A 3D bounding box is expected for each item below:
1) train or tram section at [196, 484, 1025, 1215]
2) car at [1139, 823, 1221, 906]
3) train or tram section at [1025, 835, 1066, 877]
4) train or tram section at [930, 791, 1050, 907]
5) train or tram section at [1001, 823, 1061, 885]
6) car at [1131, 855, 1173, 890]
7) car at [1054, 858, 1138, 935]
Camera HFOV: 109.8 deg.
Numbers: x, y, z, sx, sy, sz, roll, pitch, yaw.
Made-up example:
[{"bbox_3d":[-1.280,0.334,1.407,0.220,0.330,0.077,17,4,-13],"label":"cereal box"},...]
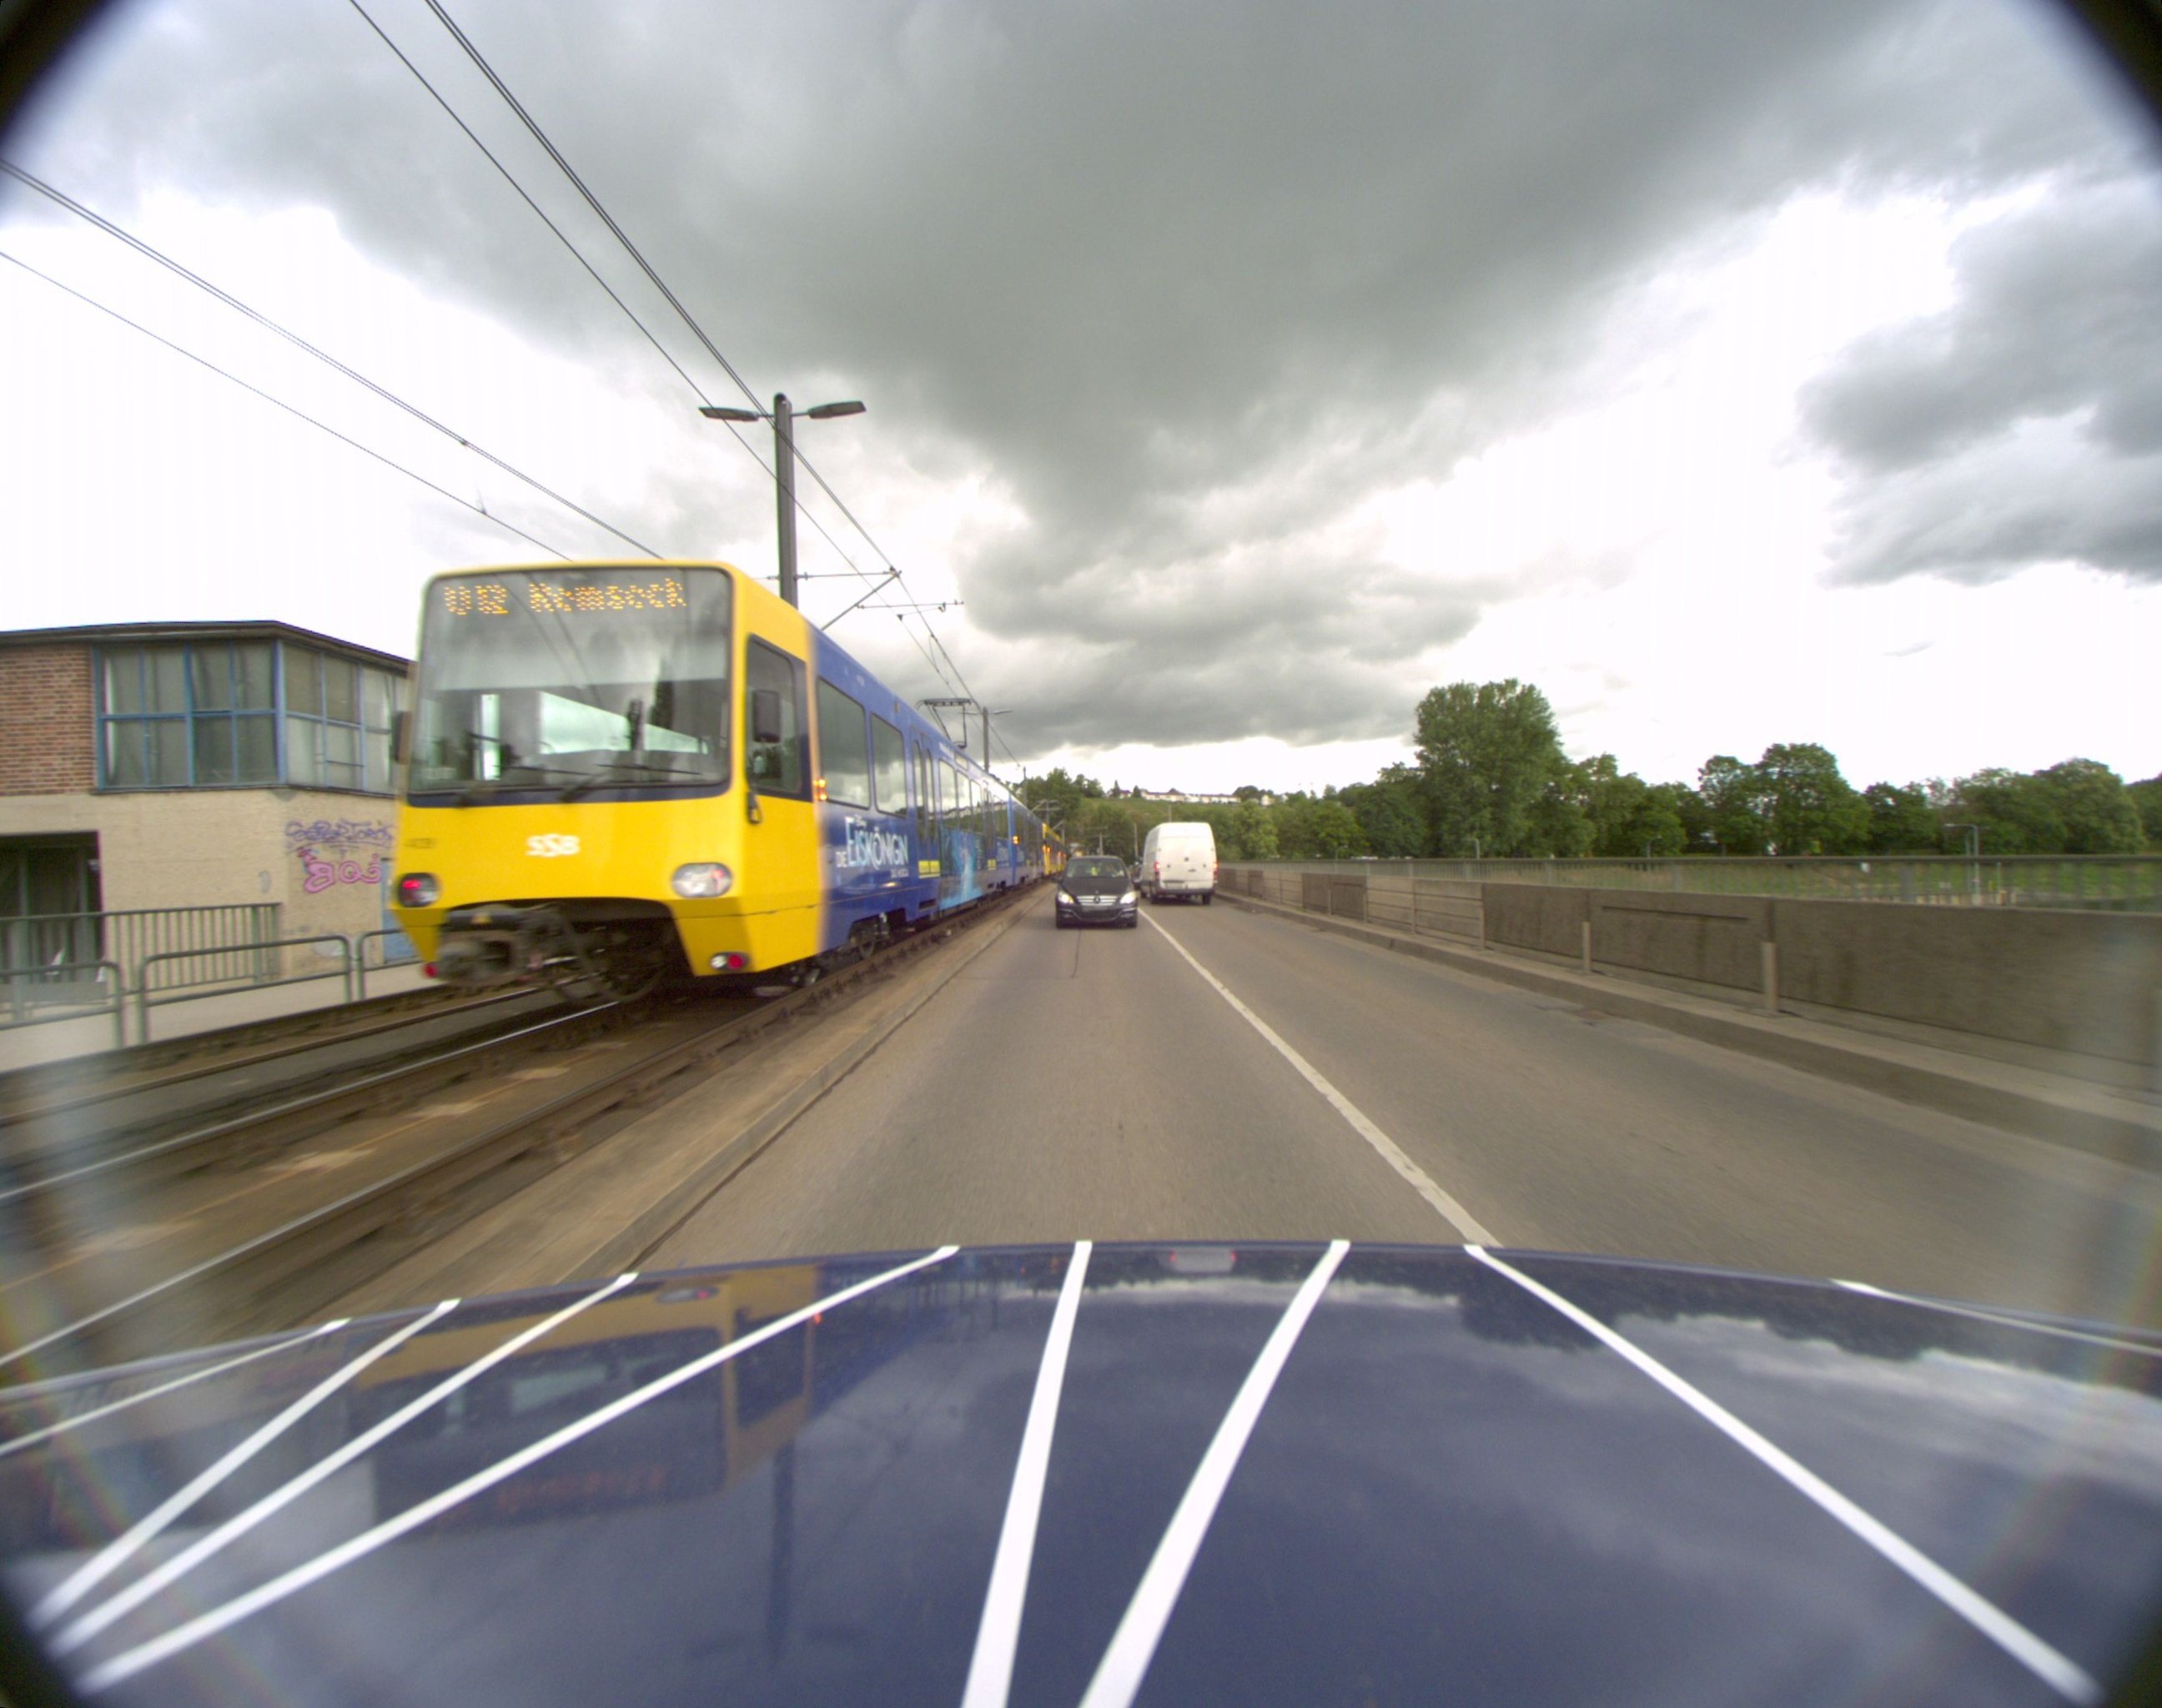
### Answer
[{"bbox_3d":[-3.190,-0.041,13.939,2.800,3.742,19.890,-2,0,0],"label":"train or tram section"},{"bbox_3d":[3.324,0.357,26.993,2.038,2.546,7.008,-1,-1,1],"label":"car"},{"bbox_3d":[-3.099,0.229,71.713,2.889,3.488,18.667,0,0,0],"label":"train or tram section"},{"bbox_3d":[-3.266,-0.178,33.759,2.791,3.634,19.891,1,0,0],"label":"train or tram section"},{"bbox_3d":[-3.149,0.086,53.007,2.837,3.559,18.667,0,0,0],"label":"train or tram section"},{"bbox_3d":[3.531,0.919,38.241,1.720,1.635,4.000,0,-1,0],"label":"car"},{"bbox_3d":[0.320,0.883,17.872,1.711,1.573,4.442,0,0,0],"label":"car"}]
